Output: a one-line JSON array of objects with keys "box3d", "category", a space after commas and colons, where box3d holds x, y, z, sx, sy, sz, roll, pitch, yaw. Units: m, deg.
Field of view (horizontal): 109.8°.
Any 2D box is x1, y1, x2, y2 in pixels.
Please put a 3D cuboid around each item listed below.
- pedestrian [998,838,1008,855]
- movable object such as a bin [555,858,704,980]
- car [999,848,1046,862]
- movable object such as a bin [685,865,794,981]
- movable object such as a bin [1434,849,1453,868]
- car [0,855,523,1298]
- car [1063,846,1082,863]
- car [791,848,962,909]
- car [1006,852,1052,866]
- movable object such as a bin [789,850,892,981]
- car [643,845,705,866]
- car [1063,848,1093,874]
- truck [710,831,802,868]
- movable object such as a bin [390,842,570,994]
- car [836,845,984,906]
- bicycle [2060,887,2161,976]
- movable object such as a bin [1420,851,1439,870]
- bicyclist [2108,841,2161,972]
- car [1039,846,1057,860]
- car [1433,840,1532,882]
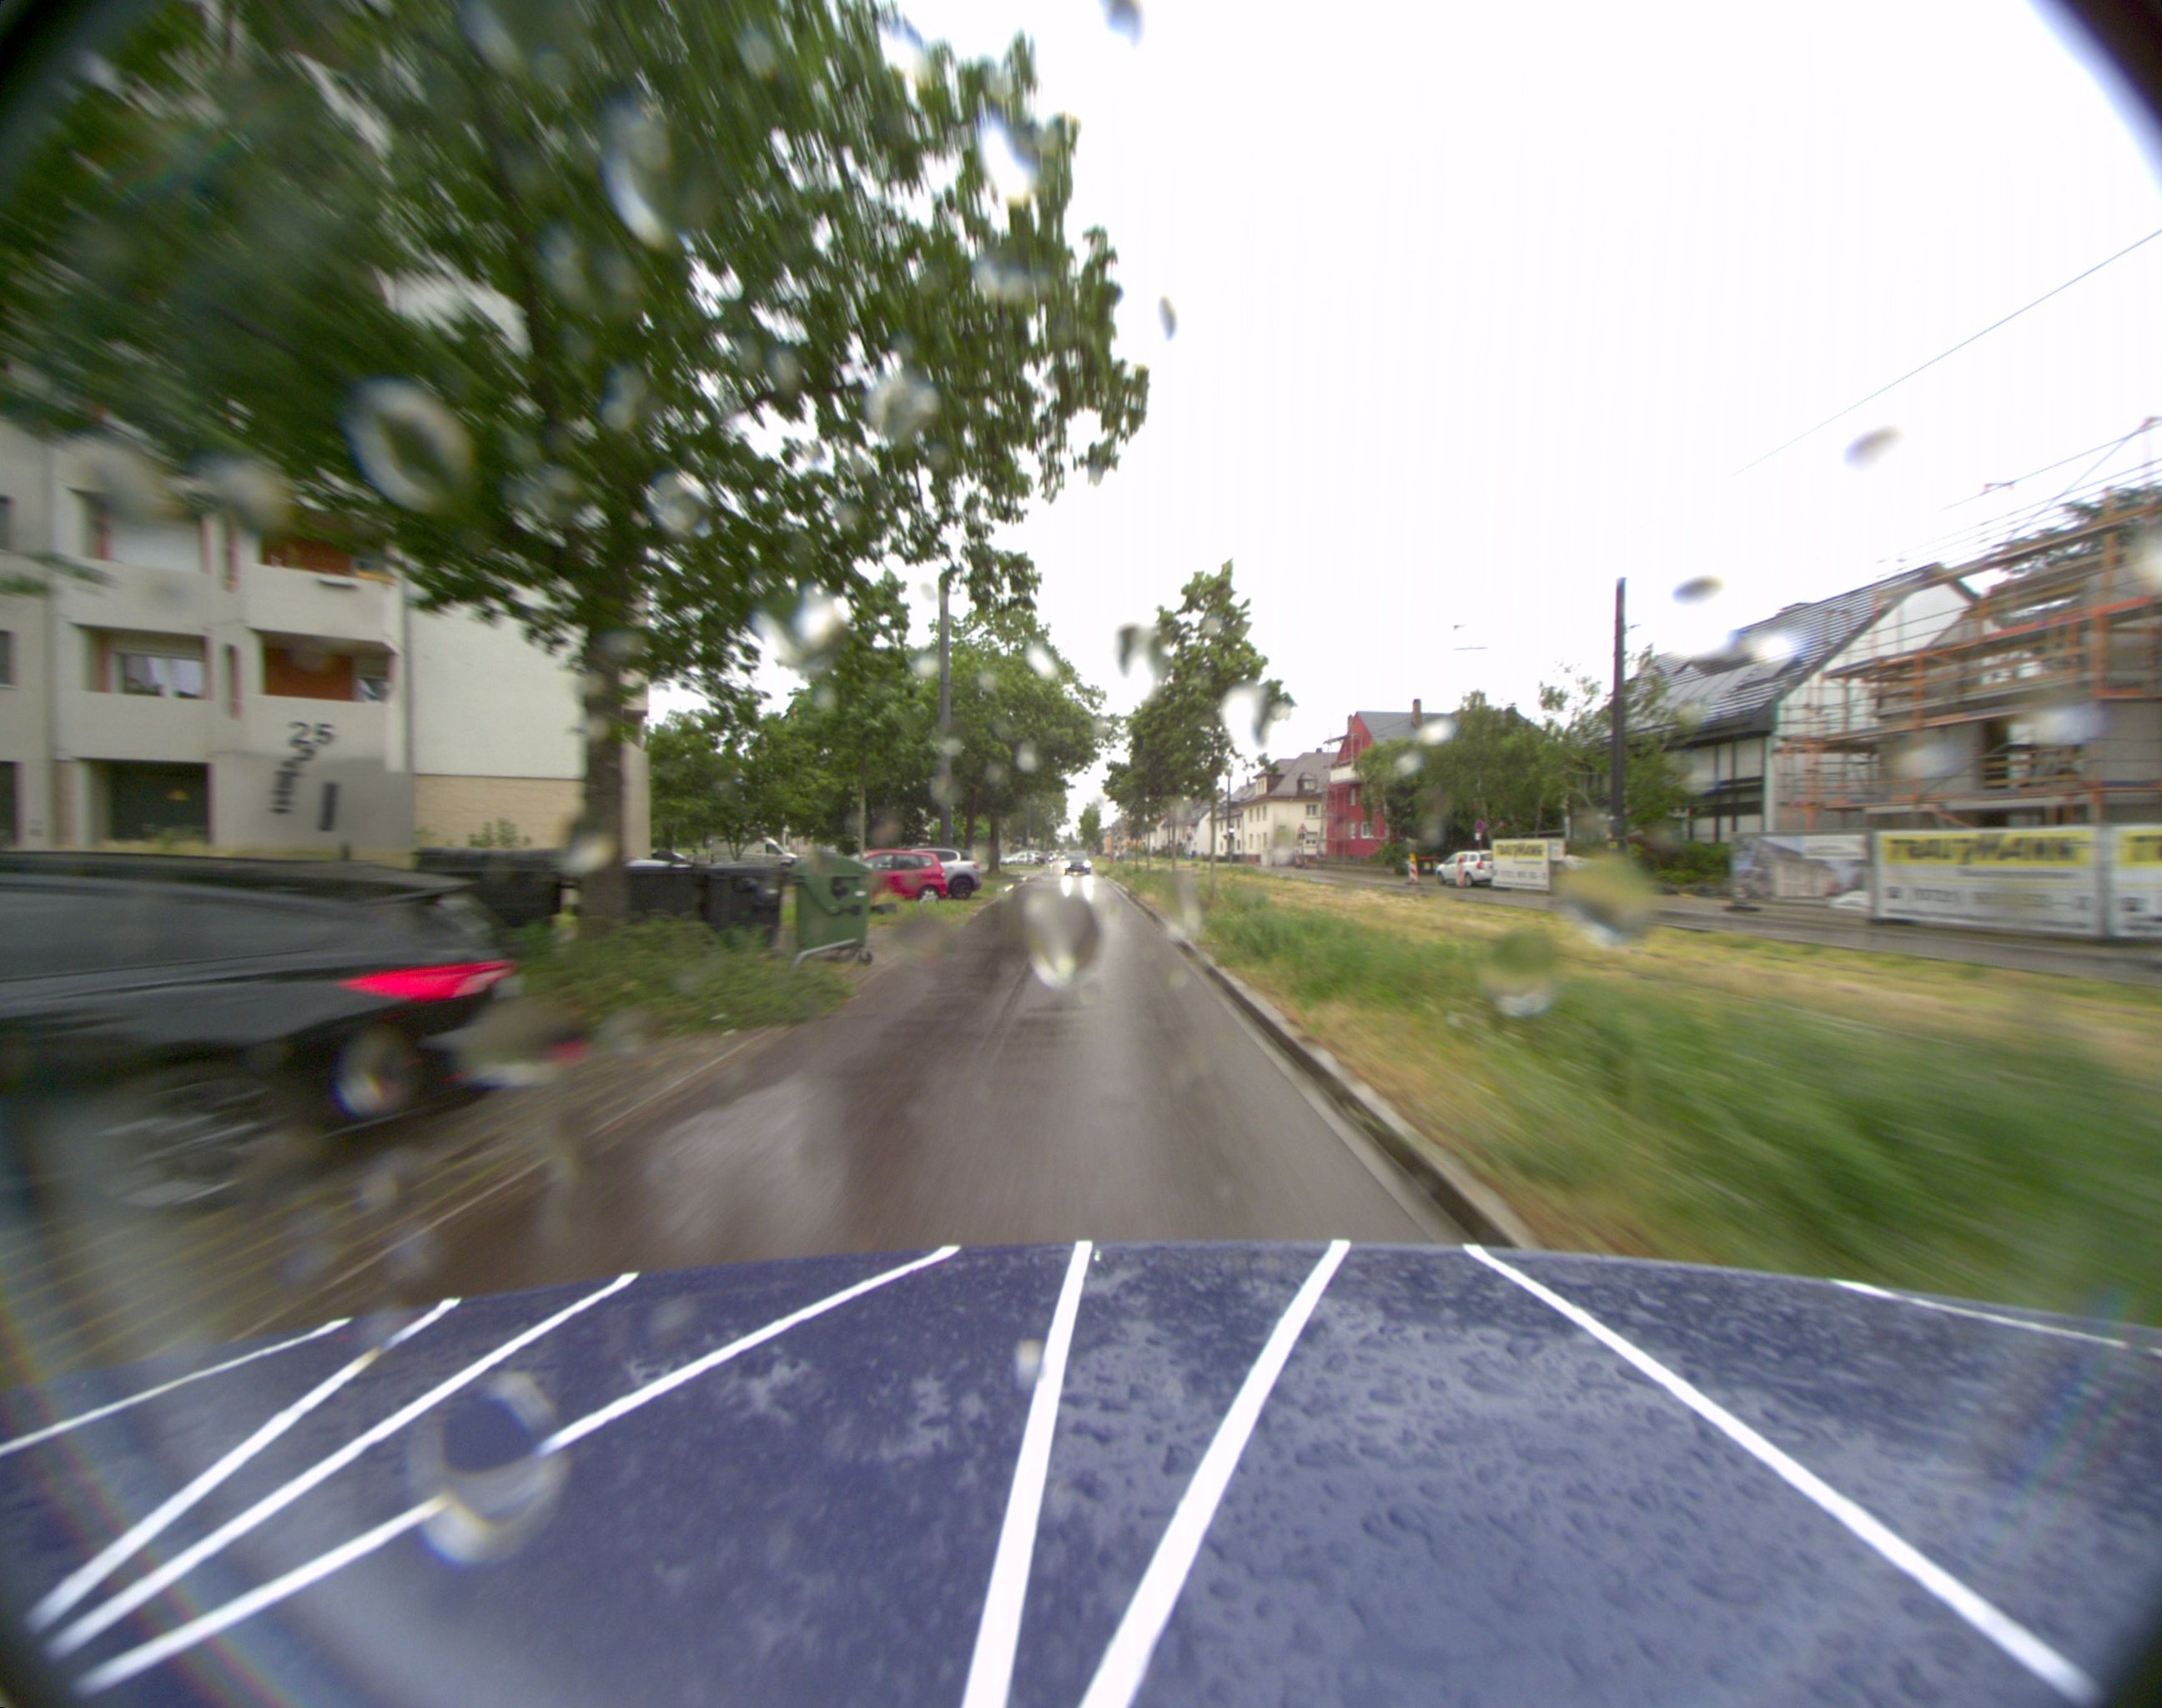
[{"box3d": [-9.423, -0.874, 91.806, 1.014, 2.002, 1.158, -1, 2, -2], "category": "pedestrian"}, {"box3d": [-5.350, 0.703, 9.003, 1.244, 1.244, 1.183, -3, 3, -43], "category": "movable object such as a bin"}, {"box3d": [-6.070, 0.099, 78.784, 4.485, 1.320, 1.995, -2, 2, -29], "category": "car"}, {"box3d": [-4.402, 0.830, 9.770, 0.999, 1.305, 1.183, -3, 3, -36], "category": "movable object such as a bin"}, {"box3d": [22.285, 0.269, 46.727, 0.812, 1.141, 0.821, -1, 2, 1], "category": "movable object such as a bin"}, {"box3d": [-5.124, 0.802, 3.045, 4.469, 1.533, 1.680, 2, 1, -30], "category": "car"}, {"box3d": [-1.031, 0.041, 89.566, 1.998, 1.762, 3.999, -1, 2, 2], "category": "car"}, {"box3d": [-5.426, 0.645, 20.362, 4.055, 1.480, 1.720, 2, 0, -35], "category": "car"}, {"box3d": [-5.616, 0.517, 82.135, 4.485, 1.320, 1.995, -2, 2, -27], "category": "car"}, {"box3d": [-3.244, 0.751, 10.157, 1.165, 1.553, 1.372, -2, 2, -22], "category": "movable object such as a bin"}, {"box3d": [-27.855, 0.071, 52.116, 3.422, 1.275, 1.598, -2, 2, -17], "category": "car"}, {"box3d": [-0.158, 0.438, 53.278, 1.998, 1.611, 3.999, -1, 2, 1], "category": "car"}, {"box3d": [-22.881, -0.332, 53.778, 5.680, 2.424, 2.120, -2, 2, -17], "category": "truck"}, {"box3d": [-6.401, 0.601, 8.131, 1.369, 1.414, 1.183, -3, 3, -41], "category": "movable object such as a bin"}, {"box3d": [-5.219, 0.586, 23.382, 4.054, 1.676, 1.720, -2, 2, -35], "category": "car"}, {"box3d": [13.686, 0.987, 8.515, 0.937, 1.037, 3.433, 0, 1, -1], "category": "bicycle"}, {"box3d": [21.451, 0.398, 46.740, 0.812, 1.141, 0.821, -1, 2, 1], "category": "movable object such as a bin"}, {"box3d": [13.644, 0.644, 9.029, 0.956, 1.575, 1.400, -1, 2, 0], "category": "bicyclist"}, {"box3d": [-4.372, -0.092, 100.073, 1.998, 1.696, 3.999, -1, 2, 2], "category": "car"}, {"box3d": [17.364, 0.250, 33.132, 1.999, 1.618, 4.249, -1, 2, -1], "category": "car"}]
